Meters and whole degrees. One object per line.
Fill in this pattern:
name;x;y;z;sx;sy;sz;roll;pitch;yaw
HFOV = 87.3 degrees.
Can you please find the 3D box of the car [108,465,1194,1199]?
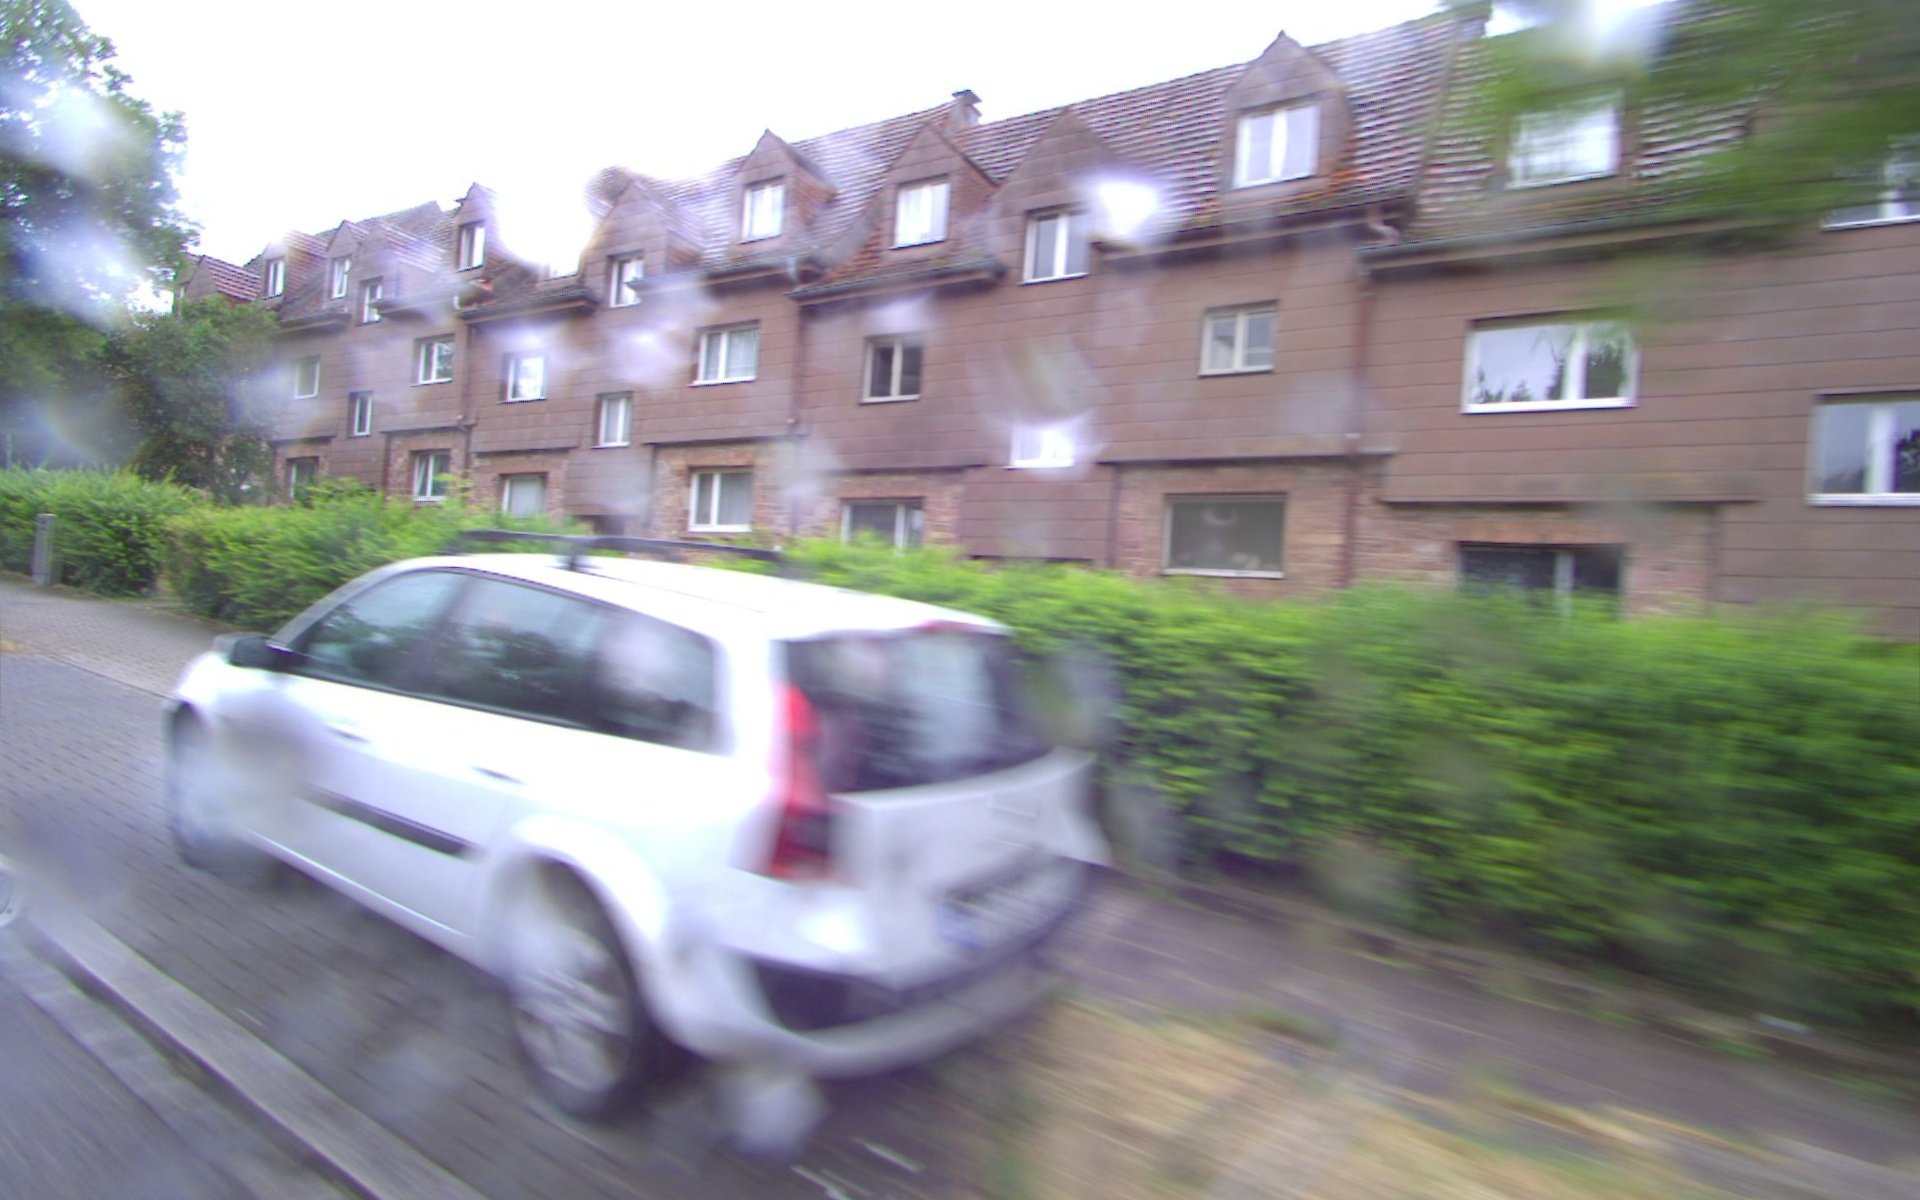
car;-1.555;0.447;4.091;4.403;1.624;1.823;7;2;35
